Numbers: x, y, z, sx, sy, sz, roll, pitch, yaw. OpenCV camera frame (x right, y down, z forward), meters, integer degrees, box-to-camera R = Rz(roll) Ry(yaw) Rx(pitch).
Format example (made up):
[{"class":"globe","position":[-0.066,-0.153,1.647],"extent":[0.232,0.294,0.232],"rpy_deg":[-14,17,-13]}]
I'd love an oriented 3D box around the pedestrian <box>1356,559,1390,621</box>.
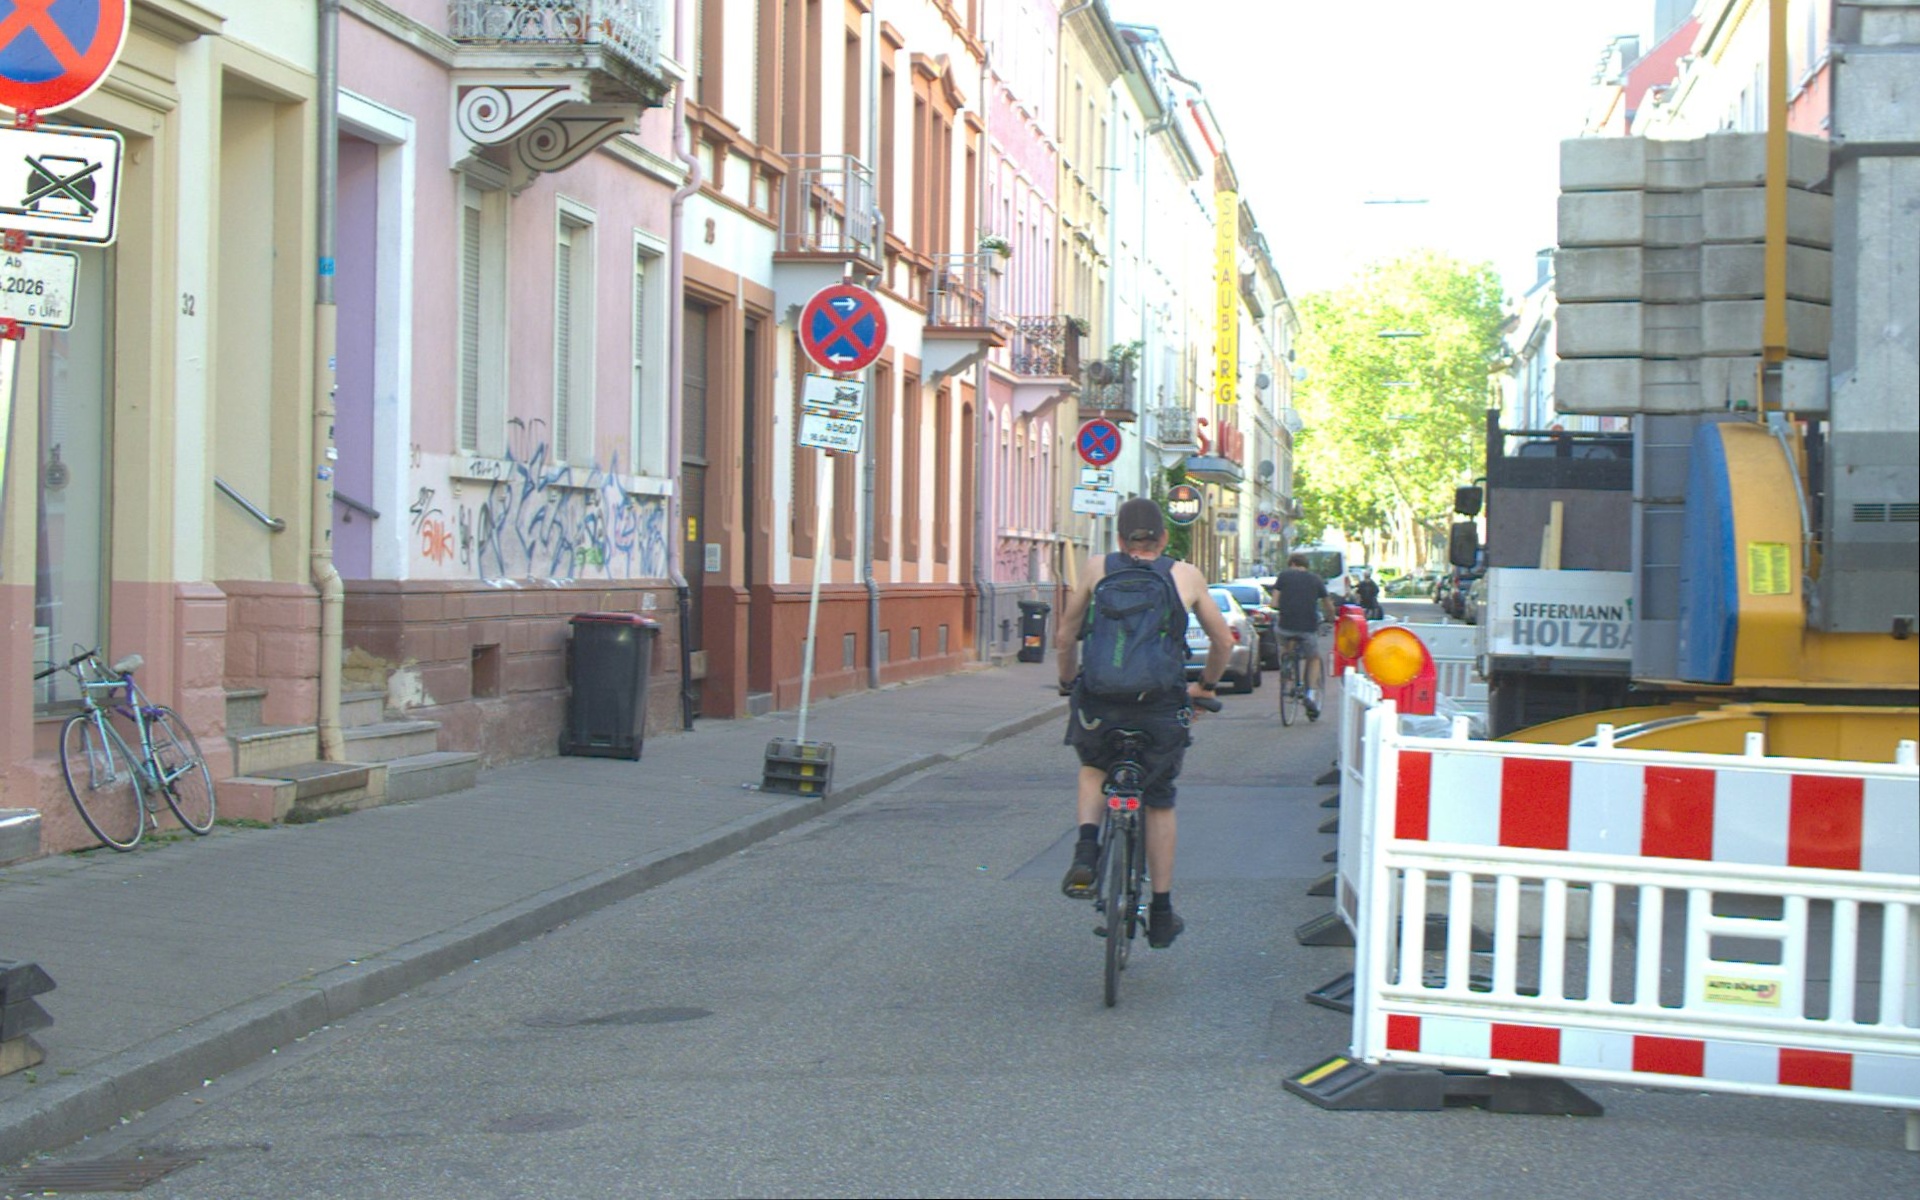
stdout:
[{"class":"pedestrian","position":[10.675,-0.256,88.817],"extent":[0.771,1.573,0.900],"rpy_deg":[2,0,4]}]

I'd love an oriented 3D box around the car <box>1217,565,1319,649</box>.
[{"class":"car","position":[5.679,0.116,63.065],"extent":[1.672,1.437,4.164],"rpy_deg":[-1,0,7]}]

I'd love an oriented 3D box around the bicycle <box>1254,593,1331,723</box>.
[{"class":"bicycle","position":[3.366,0.561,34.640],"extent":[0.702,1.203,2.341],"rpy_deg":[0,2,7]}]

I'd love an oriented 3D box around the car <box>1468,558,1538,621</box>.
[{"class":"car","position":[13.907,-0.282,88.260],"extent":[1.621,1.545,3.999],"rpy_deg":[-1,0,7]}]

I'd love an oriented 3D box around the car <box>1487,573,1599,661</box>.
[{"class":"car","position":[10.654,0.294,63.007],"extent":[1.817,1.516,3.999],"rpy_deg":[-1,0,7]}]

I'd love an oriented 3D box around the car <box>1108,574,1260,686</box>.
[{"class":"car","position":[3.035,0.376,45.834],"extent":[1.711,1.378,4.504],"rpy_deg":[-1,0,7]}]

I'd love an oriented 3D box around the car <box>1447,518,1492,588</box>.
[{"class":"car","position":[28.535,-2.603,192.647],"extent":[2.308,3.755,6.768],"rpy_deg":[-1,0,7]}]

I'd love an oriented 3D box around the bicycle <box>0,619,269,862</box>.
[{"class":"bicycle","position":[-3.863,0.628,16.154],"extent":[0.622,1.019,1.817],"rpy_deg":[2,1,8]}]

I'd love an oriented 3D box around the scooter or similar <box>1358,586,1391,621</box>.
[{"class":"scooter or similar","position":[10.638,0.092,88.318],"extent":[0.771,0.870,0.770],"rpy_deg":[2,0,4]}]

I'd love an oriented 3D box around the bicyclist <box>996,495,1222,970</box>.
[{"class":"bicyclist","position":[0.553,0.456,12.369],"extent":[0.702,1.628,1.090],"rpy_deg":[-1,0,8]}]

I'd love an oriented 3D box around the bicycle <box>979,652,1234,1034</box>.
[{"class":"bicycle","position":[0.572,0.818,12.474],"extent":[0.702,1.204,2.341],"rpy_deg":[-1,0,8]}]

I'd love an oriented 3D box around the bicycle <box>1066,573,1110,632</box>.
[{"class":"bicycle","position":[2.438,0.041,65.336],"extent":[0.593,1.085,2.078],"rpy_deg":[2,0,8]}]

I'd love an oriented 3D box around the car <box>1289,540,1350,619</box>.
[{"class":"car","position":[11.491,-0.670,110.071],"extent":[1.910,2.488,4.164],"rpy_deg":[0,1,5]}]

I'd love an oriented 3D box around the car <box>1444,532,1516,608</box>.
[{"class":"car","position":[18.181,-1.047,120.463],"extent":[2.308,2.529,6.768],"rpy_deg":[-1,0,7]}]

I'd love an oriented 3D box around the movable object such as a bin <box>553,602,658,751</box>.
[{"class":"movable object such as a bin","position":[-2.546,0.543,24.734],"extent":[0.605,1.032,0.596],"rpy_deg":[2,0,6]}]

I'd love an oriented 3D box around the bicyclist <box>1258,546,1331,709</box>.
[{"class":"bicyclist","position":[3.370,0.270,34.632],"extent":[0.702,1.599,0.812],"rpy_deg":[0,2,7]}]

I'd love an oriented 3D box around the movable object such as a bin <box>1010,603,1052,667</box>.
[{"class":"movable object such as a bin","position":[1.075,0.529,51.899],"extent":[0.544,0.941,0.487],"rpy_deg":[2,0,9]}]

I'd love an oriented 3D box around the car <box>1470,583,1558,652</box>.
[{"class":"car","position":[11.819,0.358,73.495],"extent":[1.711,1.378,3.999],"rpy_deg":[-1,0,7]}]

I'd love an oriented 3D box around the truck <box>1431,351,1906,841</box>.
[{"class":"truck","position":[4.665,-0.052,23.929],"extent":[2.662,2.804,7.391],"rpy_deg":[2,1,8]}]
